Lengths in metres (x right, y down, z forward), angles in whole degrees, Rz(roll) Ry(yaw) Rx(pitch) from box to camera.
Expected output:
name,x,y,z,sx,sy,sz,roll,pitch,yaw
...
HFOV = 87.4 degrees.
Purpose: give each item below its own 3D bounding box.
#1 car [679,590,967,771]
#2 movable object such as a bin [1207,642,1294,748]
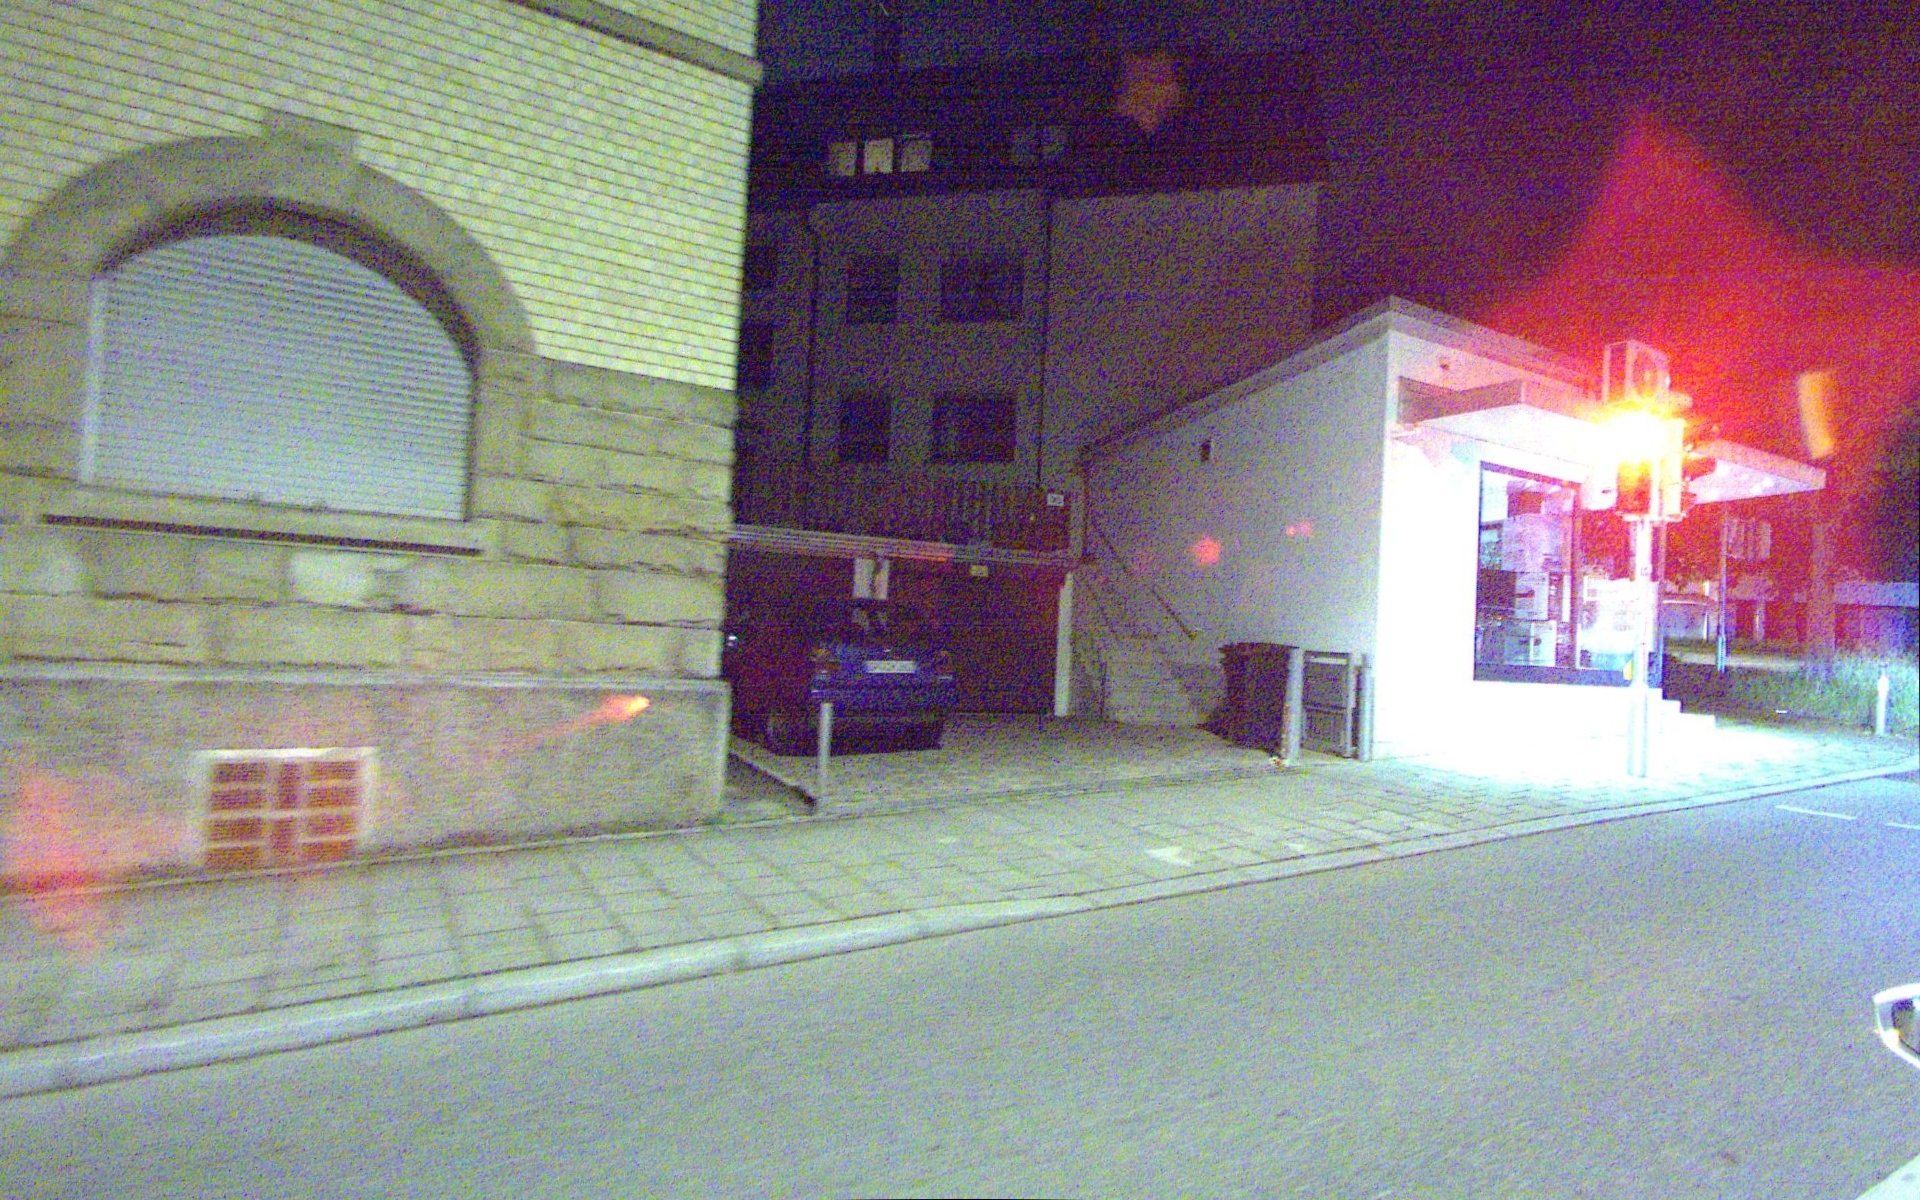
name,x,y,z,sx,sy,sz,roll,pitch,yaw
car,-1.516,0.662,10.042,1.655,1.470,3.340,2,0,-31
movable object such as a bin,3.072,0.996,10.658,0.643,1.063,0.639,2,0,-12
